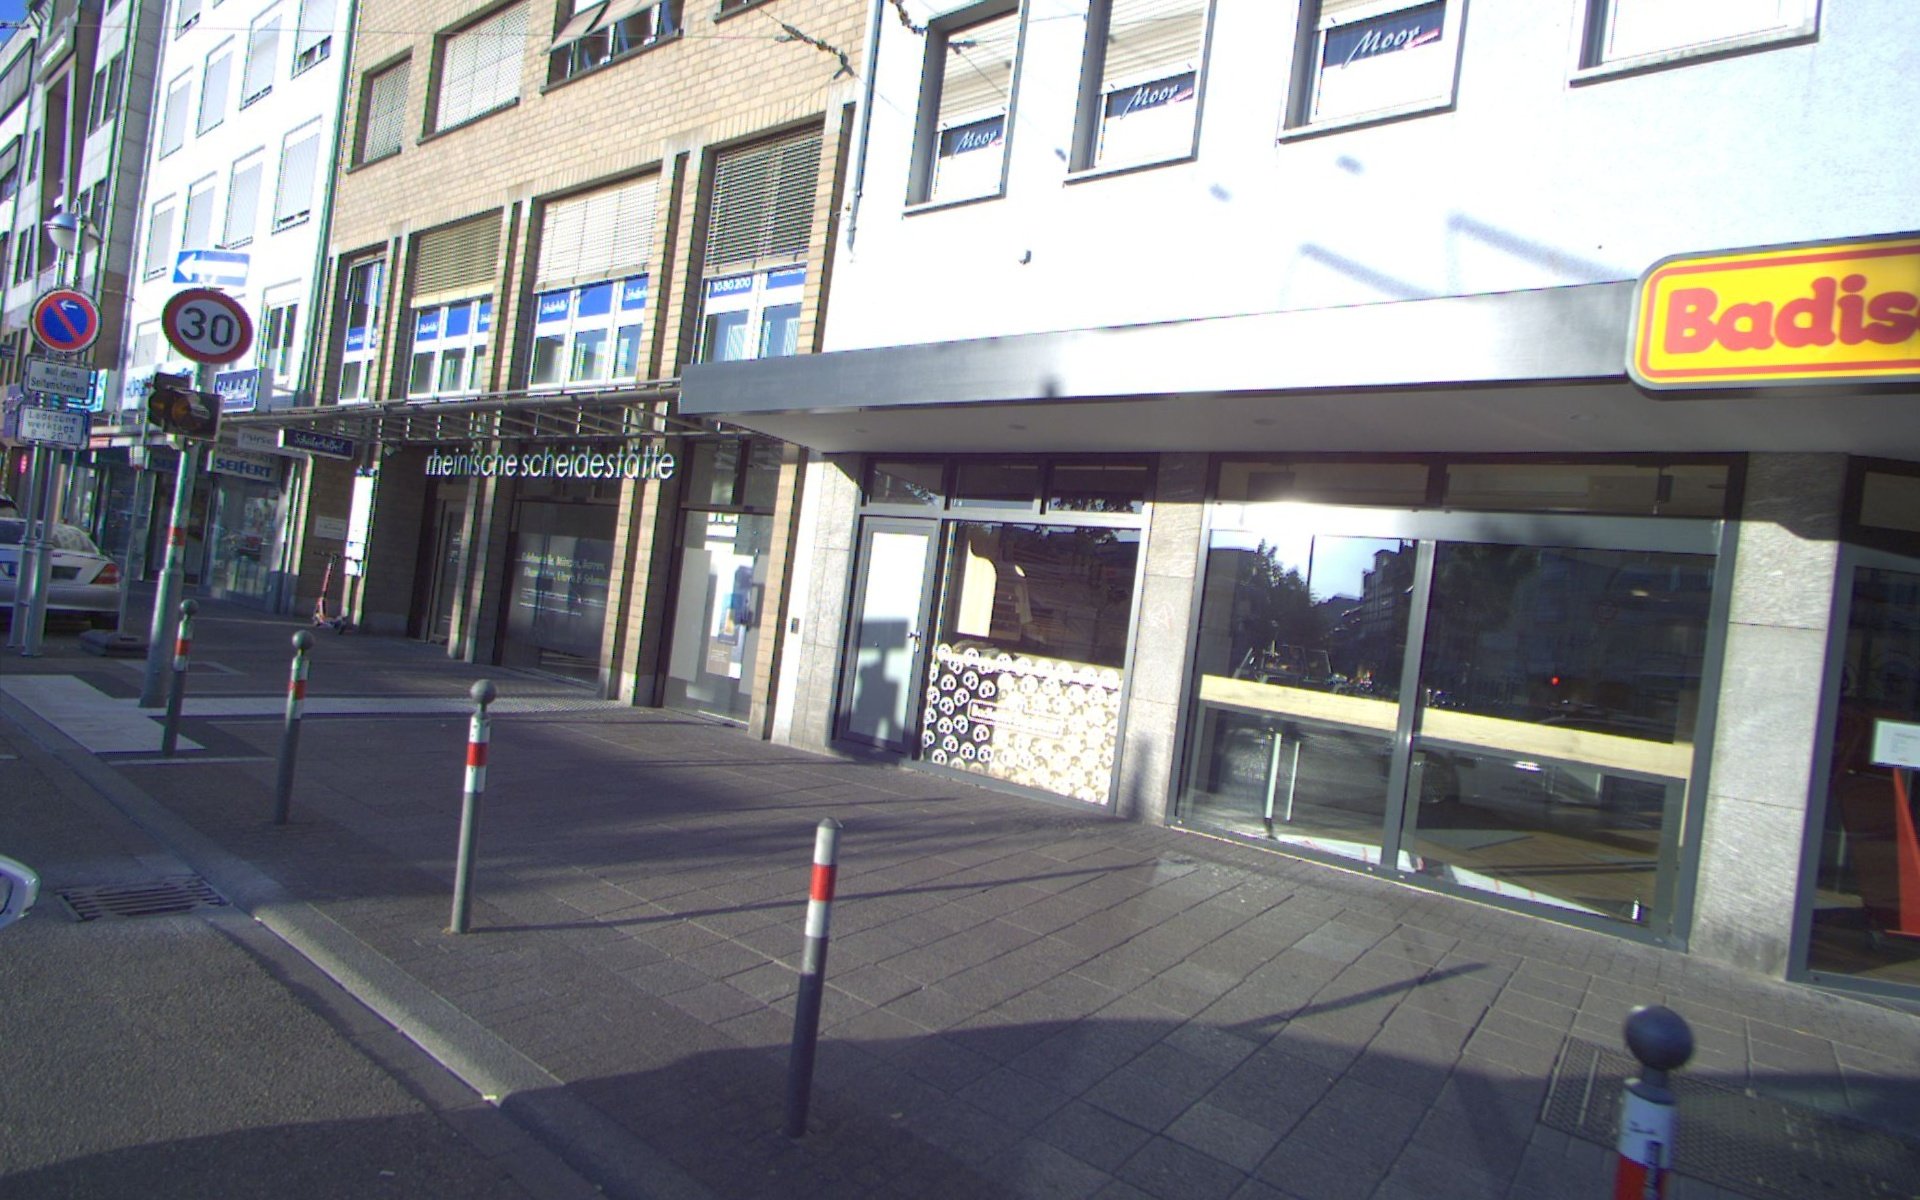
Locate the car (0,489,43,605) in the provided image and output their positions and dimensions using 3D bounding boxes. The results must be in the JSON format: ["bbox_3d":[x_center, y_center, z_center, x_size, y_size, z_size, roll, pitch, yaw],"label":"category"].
[{"bbox_3d":[-15.714,-1.005,15.327,4.223,1.624,1.765,6,-1,38],"label":"car"}]

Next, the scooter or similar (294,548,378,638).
[{"bbox_3d":[-9.629,-0.120,15.506,1.548,1.197,0.460,7,0,37],"label":"scooter or similar"}]

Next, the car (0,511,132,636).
[{"bbox_3d":[-11.958,-0.445,12.631,4.006,1.297,1.672,6,-2,41],"label":"car"}]
